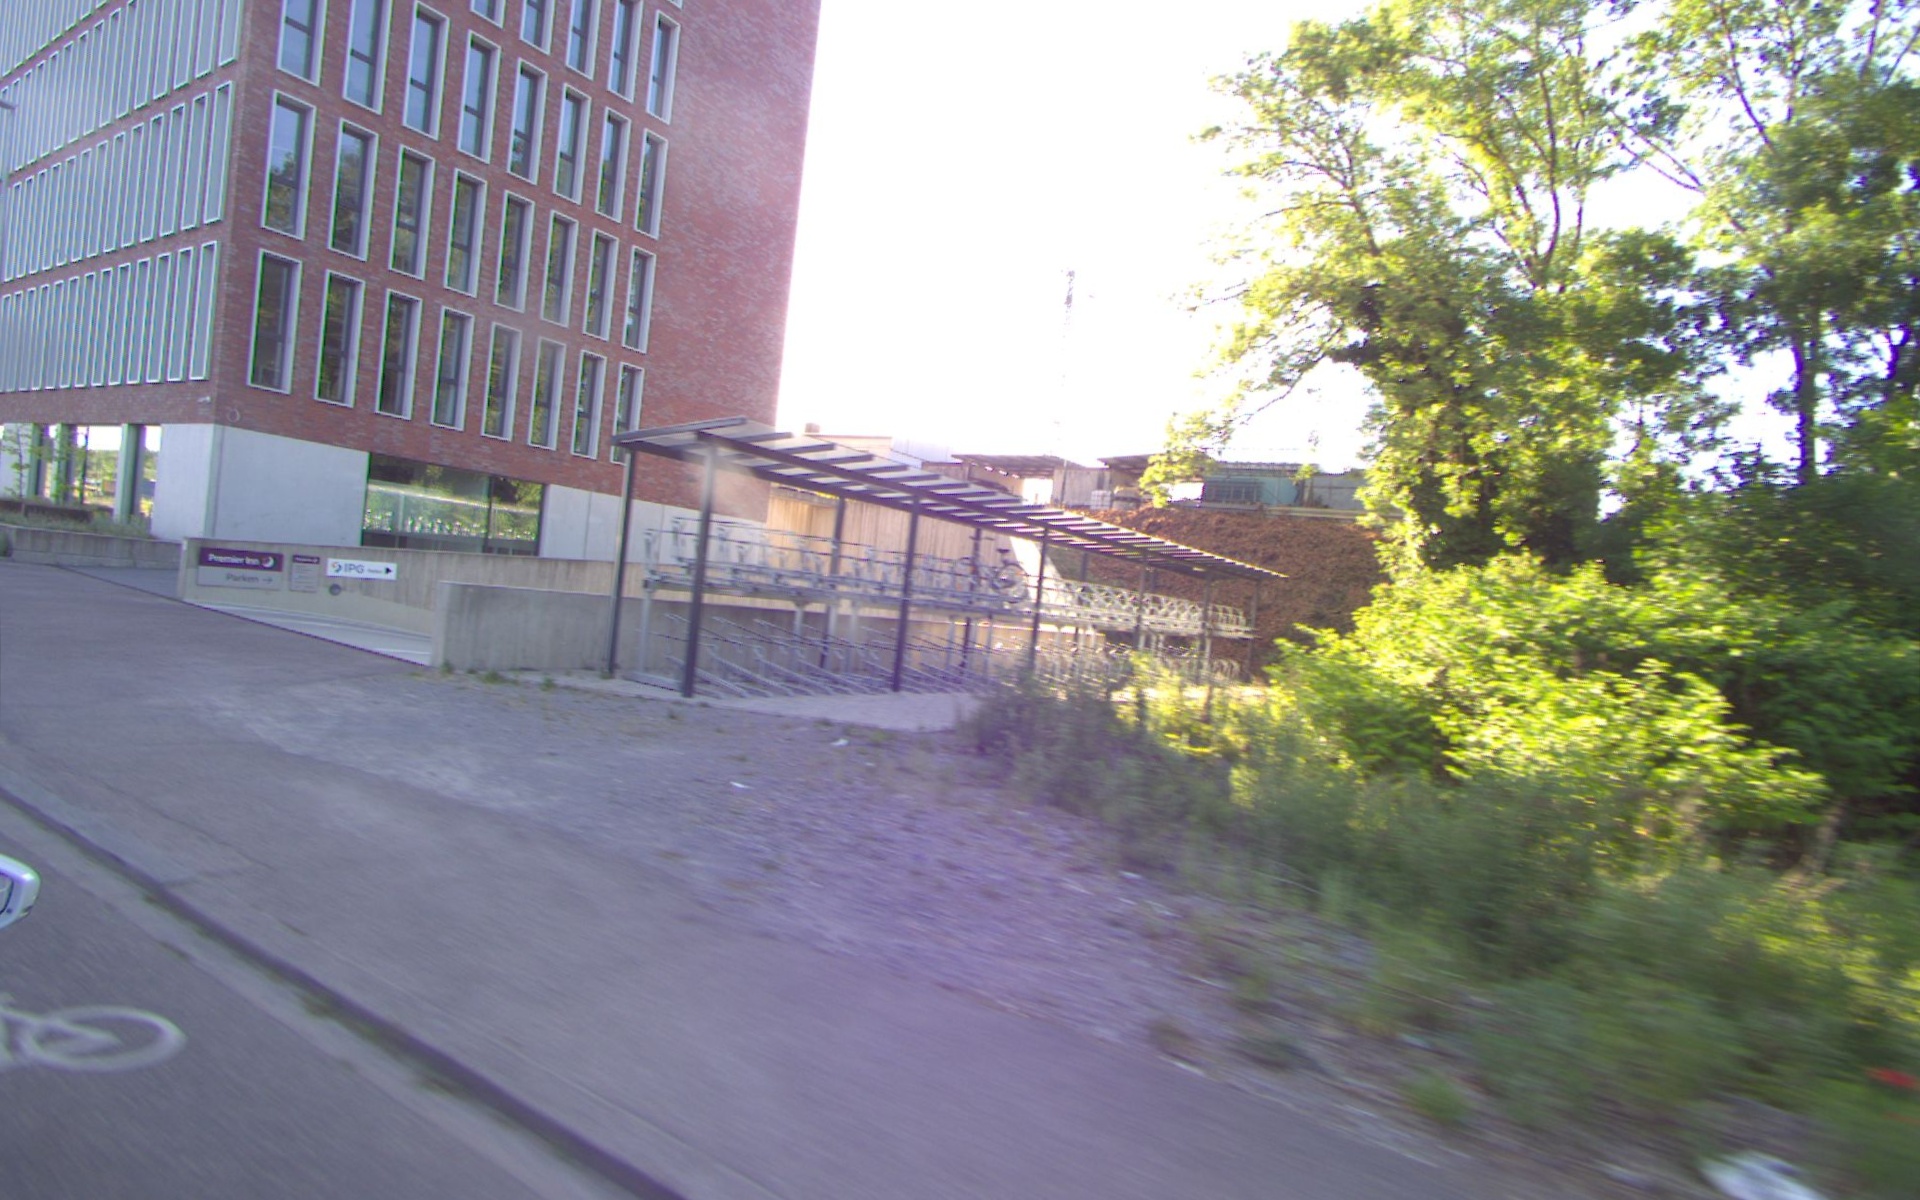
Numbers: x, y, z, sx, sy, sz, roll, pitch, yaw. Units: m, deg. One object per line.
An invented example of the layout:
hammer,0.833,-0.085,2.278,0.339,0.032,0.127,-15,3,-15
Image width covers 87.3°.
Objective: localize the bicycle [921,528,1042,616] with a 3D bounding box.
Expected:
bicycle,0.363,-0.499,17.669,1.957,1.337,0.631,6,0,32
